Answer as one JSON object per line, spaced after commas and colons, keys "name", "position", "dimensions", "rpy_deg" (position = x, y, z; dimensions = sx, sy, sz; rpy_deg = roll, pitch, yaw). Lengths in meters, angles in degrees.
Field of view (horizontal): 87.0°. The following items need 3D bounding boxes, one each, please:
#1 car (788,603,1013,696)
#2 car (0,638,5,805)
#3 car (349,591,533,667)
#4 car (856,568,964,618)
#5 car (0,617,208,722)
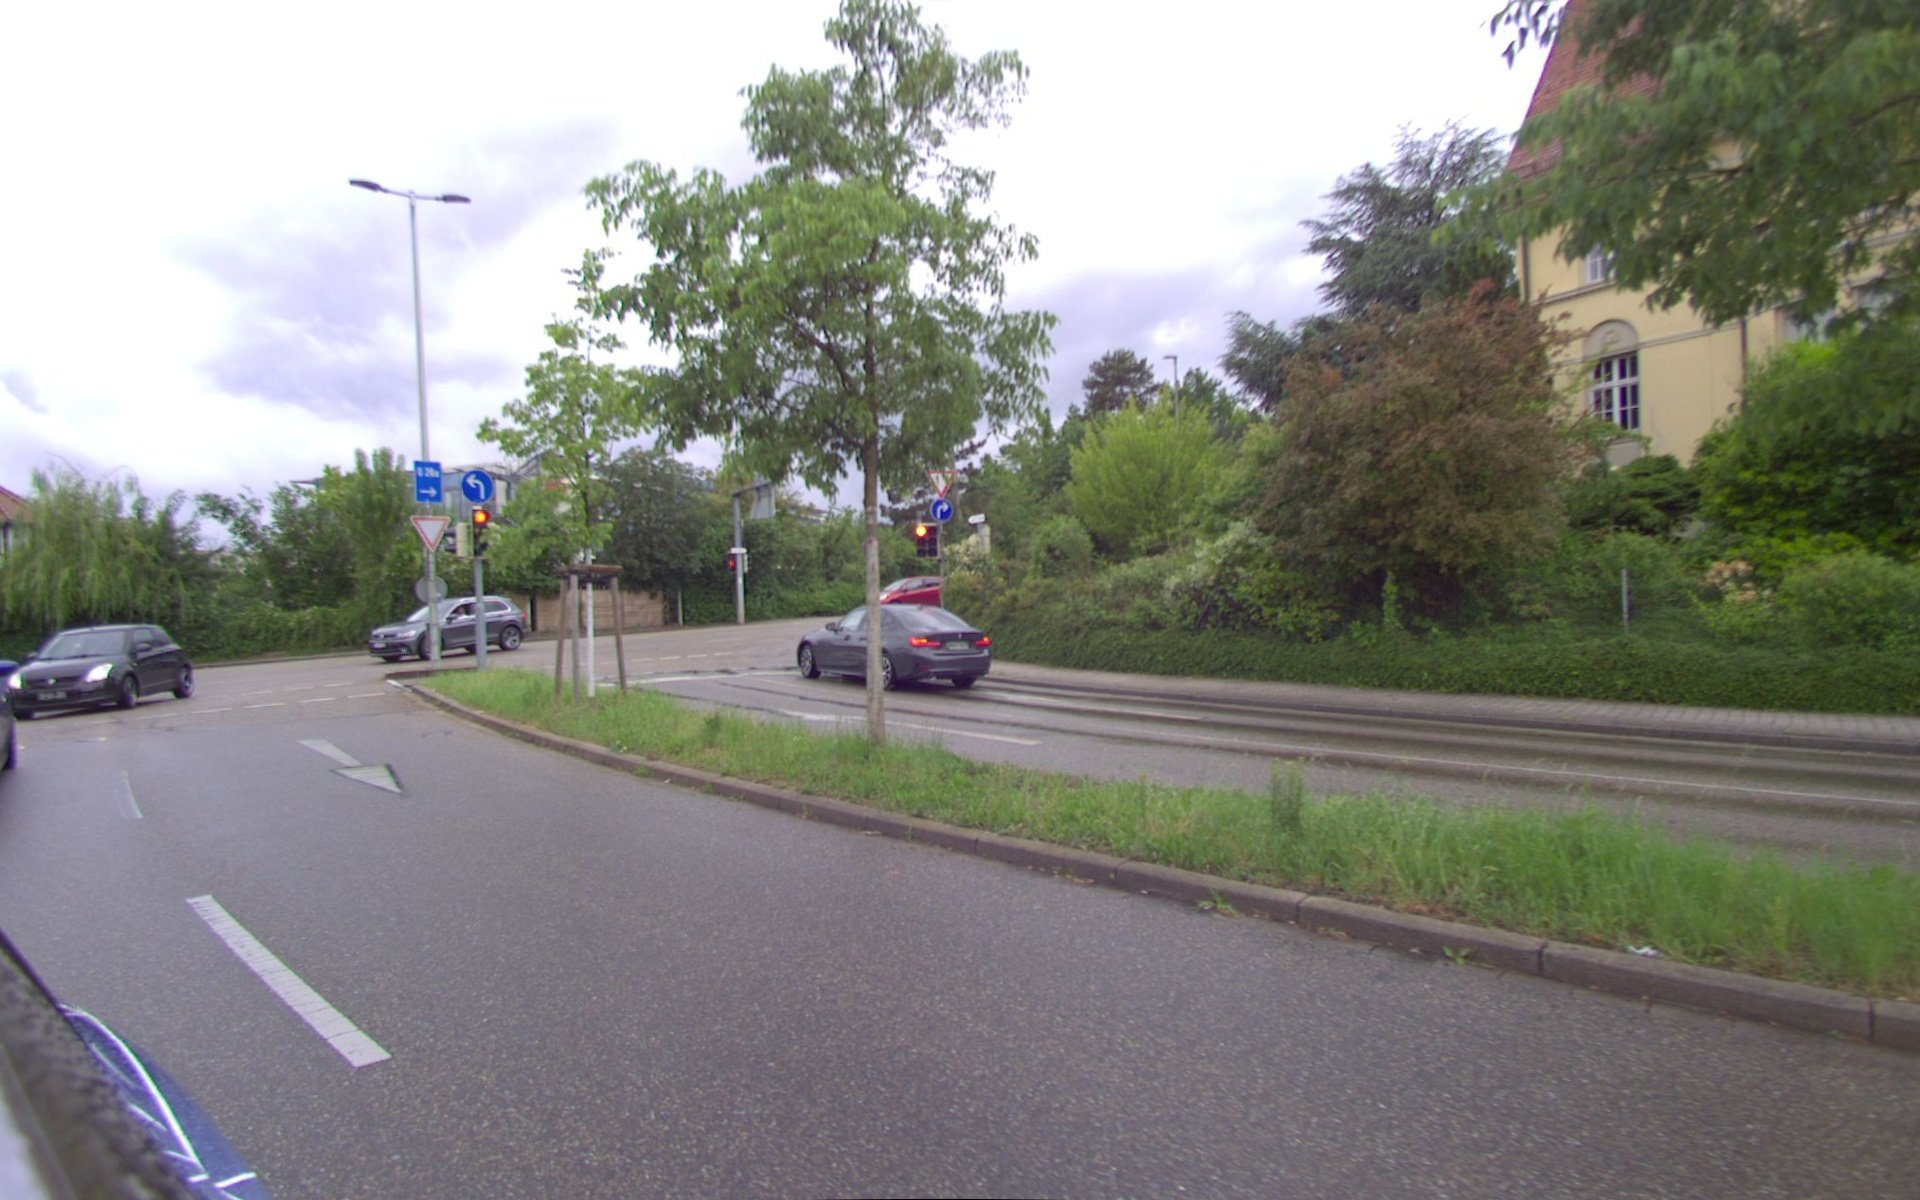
{"name": "car", "position": [-1.224, 0.848, 18.281], "dimensions": [1.967, 1.449, 4.559], "rpy_deg": [1, -2, -35]}
{"name": "car", "position": [-9.110, 0.883, 8.222], "dimensions": [1.886, 1.507, 4.353], "rpy_deg": [-3, 1, -43]}
{"name": "car", "position": [-14.821, 0.771, 29.158], "dimensions": [1.960, 1.762, 4.268], "rpy_deg": [-4, 1, 28]}
{"name": "car", "position": [-2.055, -0.304, 41.919], "dimensions": [3.933, 1.738, 1.875], "rpy_deg": [-5, 1, -30]}
{"name": "car", "position": [-15.548, 1.173, 18.379], "dimensions": [1.718, 1.530, 4.012], "rpy_deg": [-5, 1, -17]}
